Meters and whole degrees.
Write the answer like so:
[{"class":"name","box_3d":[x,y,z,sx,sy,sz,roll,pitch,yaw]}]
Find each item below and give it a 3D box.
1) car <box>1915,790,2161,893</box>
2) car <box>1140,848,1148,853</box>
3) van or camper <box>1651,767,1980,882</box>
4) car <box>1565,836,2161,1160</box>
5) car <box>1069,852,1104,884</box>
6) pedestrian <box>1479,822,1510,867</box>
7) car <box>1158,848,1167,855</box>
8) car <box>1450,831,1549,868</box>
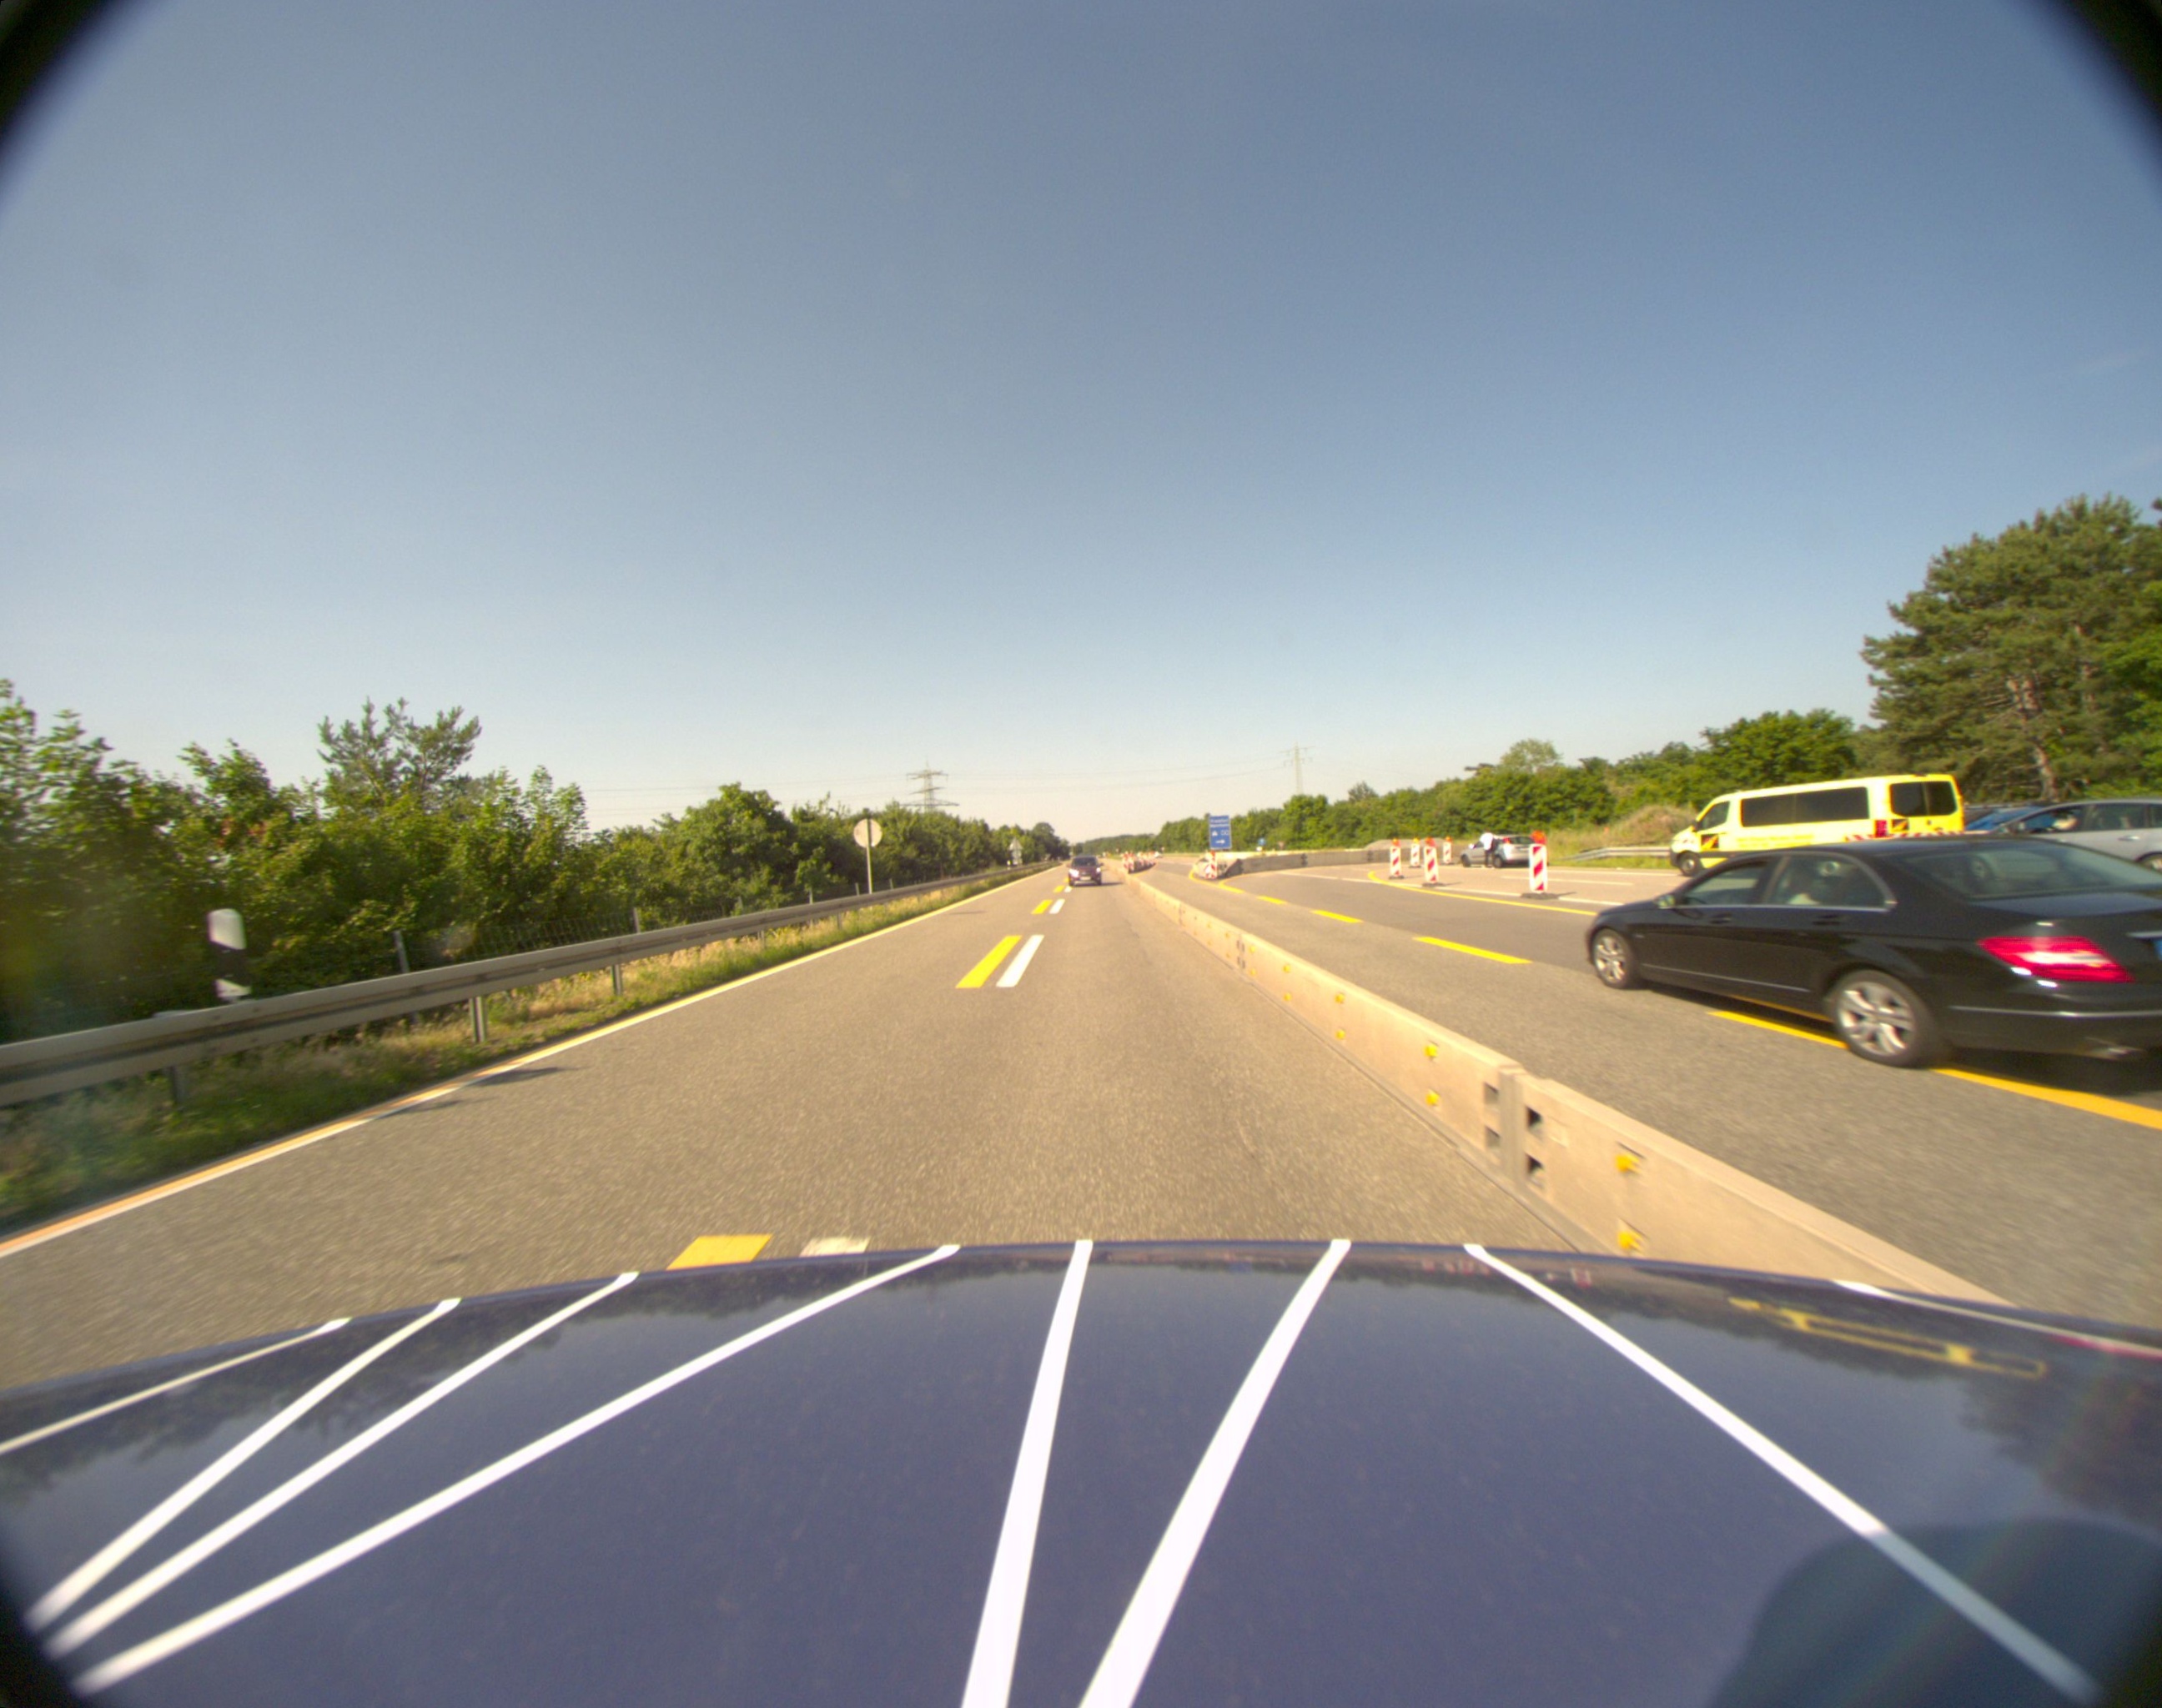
[{"class":"car","box_3d":[18.296,-0.253,13.613,1.692,1.676,4.457,-3,0,-2]},{"class":"car","box_3d":[19.726,-1.061,236.850,1.822,1.598,4.438,-2,0,-2]},{"class":"van or camper","box_3d":[18.033,-0.645,19.327,1.999,2.364,6.198,-3,1,-5]},{"class":"car","box_3d":[6.072,0.671,5.902,1.863,1.465,4.686,-4,0,4]},{"class":"car","box_3d":[0.312,0.724,38.470,1.587,1.490,4.417,-2,-2,2]},{"class":"pedestrian","box_3d":[17.288,-0.385,31.783,0.743,1.810,0.796,-2,1,-10]},{"class":"car","box_3d":[18.253,-0.607,170.520,1.715,1.507,4.178,-3,0,1]},{"class":"car","box_3d":[18.620,-0.194,34.046,1.867,1.451,4.294,-3,0,-3]}]
